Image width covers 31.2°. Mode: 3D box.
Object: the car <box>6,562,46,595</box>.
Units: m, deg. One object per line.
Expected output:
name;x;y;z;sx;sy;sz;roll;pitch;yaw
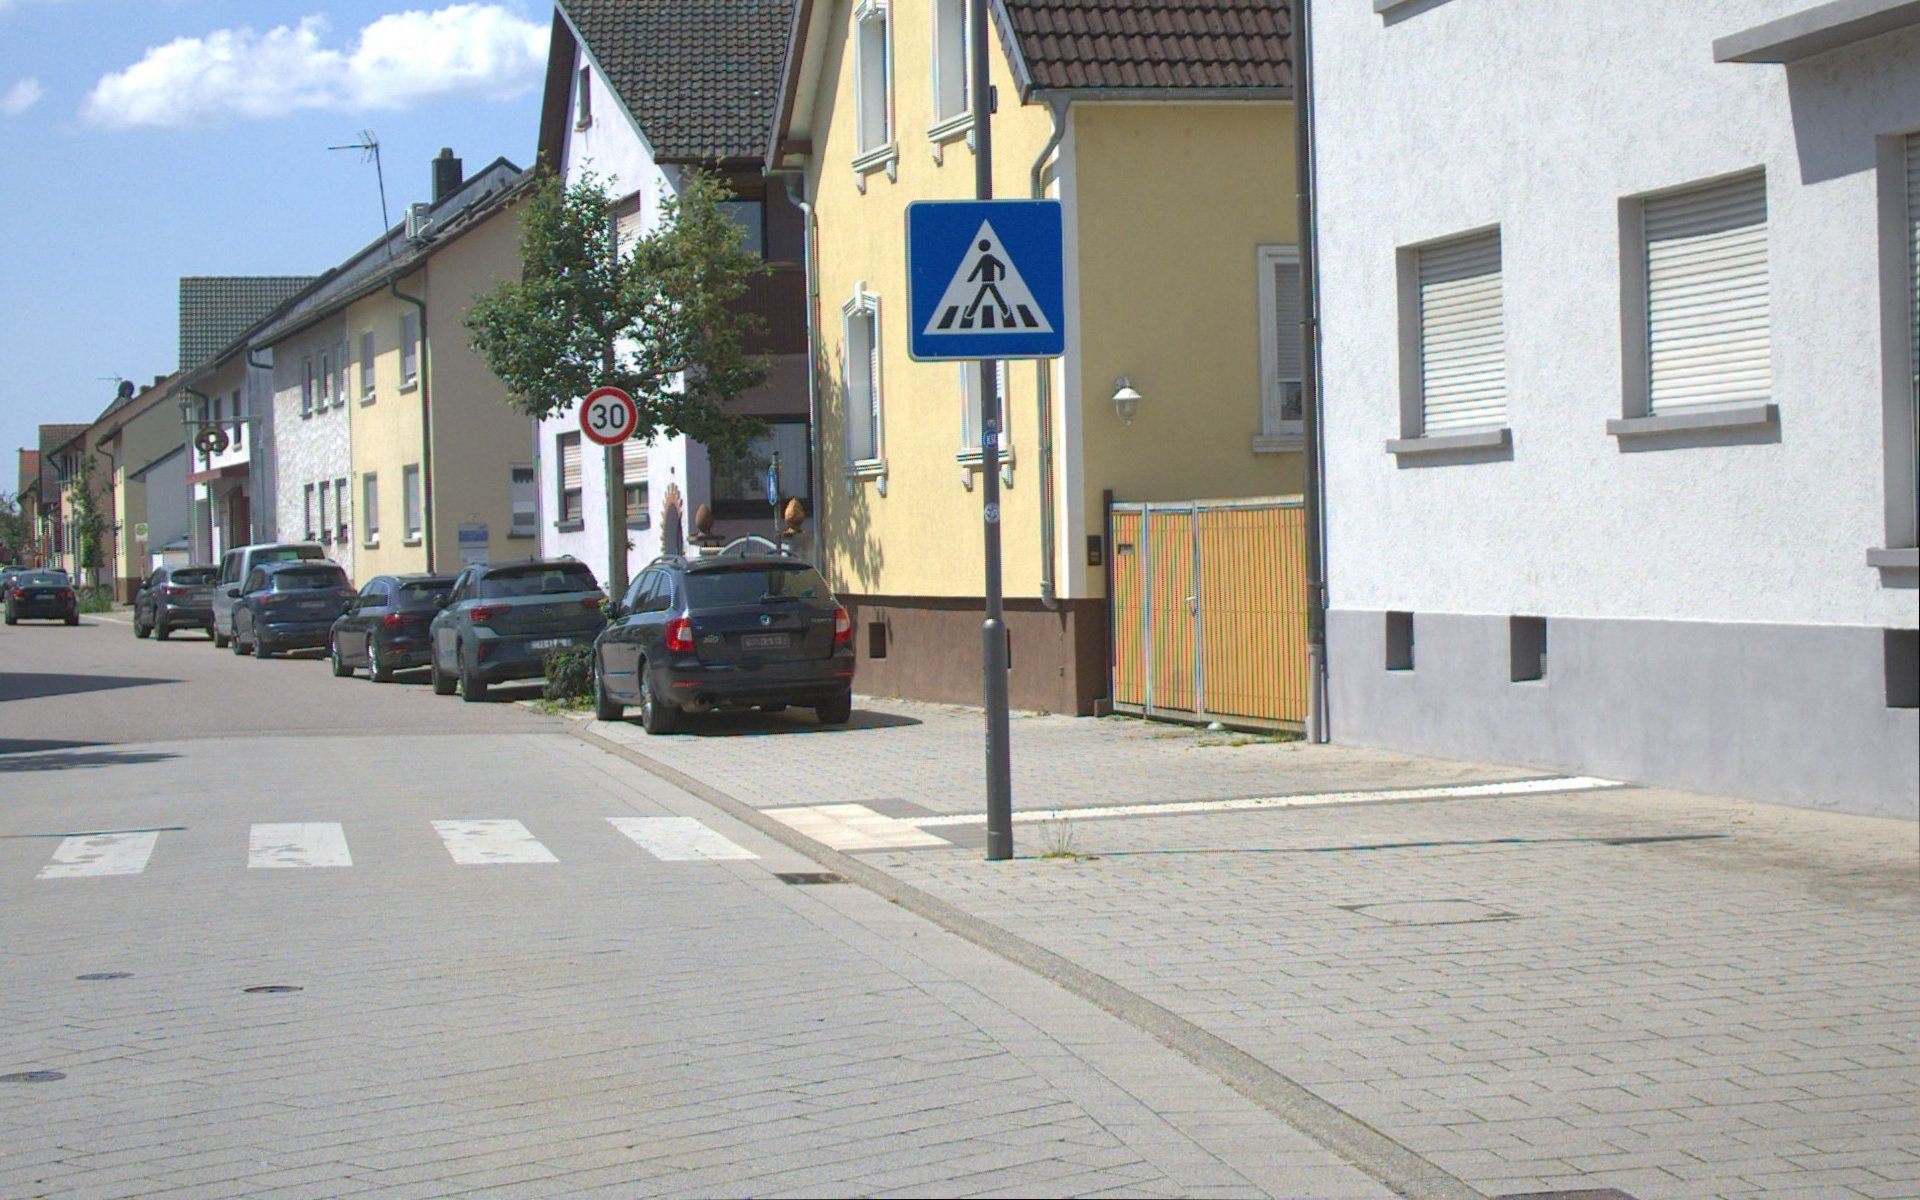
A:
car;-43.371;-1.024;159.651;1.687;1.447;3.794;-2;1;-16

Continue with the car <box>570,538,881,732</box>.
car;-2.137;0.267;30.172;1.828;1.466;4.277;-4;1;-15

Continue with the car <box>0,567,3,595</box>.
car;-51.724;-1.001;182.306;1.687;1.447;3.794;-2;1;-18

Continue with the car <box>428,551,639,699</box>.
car;-4.934;0.238;39.395;1.846;1.557;3.695;-2;1;-15

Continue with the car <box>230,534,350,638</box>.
car;-12.784;-0.291;65.451;1.906;1.865;4.001;-2;1;-15

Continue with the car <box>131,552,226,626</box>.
car;-16.819;-0.254;73.889;1.753;1.487;4.001;-2;1;-15

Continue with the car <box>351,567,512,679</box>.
car;-7.224;0.280;46.787;1.710;1.382;3.707;-2;1;-15

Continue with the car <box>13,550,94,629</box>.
car;-24.740;-0.306;93.789;1.993;2.050;4.375;-2;1;-16

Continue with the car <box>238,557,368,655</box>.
car;-11.479;0.074;59.919;1.877;1.586;4.001;-2;1;-15
